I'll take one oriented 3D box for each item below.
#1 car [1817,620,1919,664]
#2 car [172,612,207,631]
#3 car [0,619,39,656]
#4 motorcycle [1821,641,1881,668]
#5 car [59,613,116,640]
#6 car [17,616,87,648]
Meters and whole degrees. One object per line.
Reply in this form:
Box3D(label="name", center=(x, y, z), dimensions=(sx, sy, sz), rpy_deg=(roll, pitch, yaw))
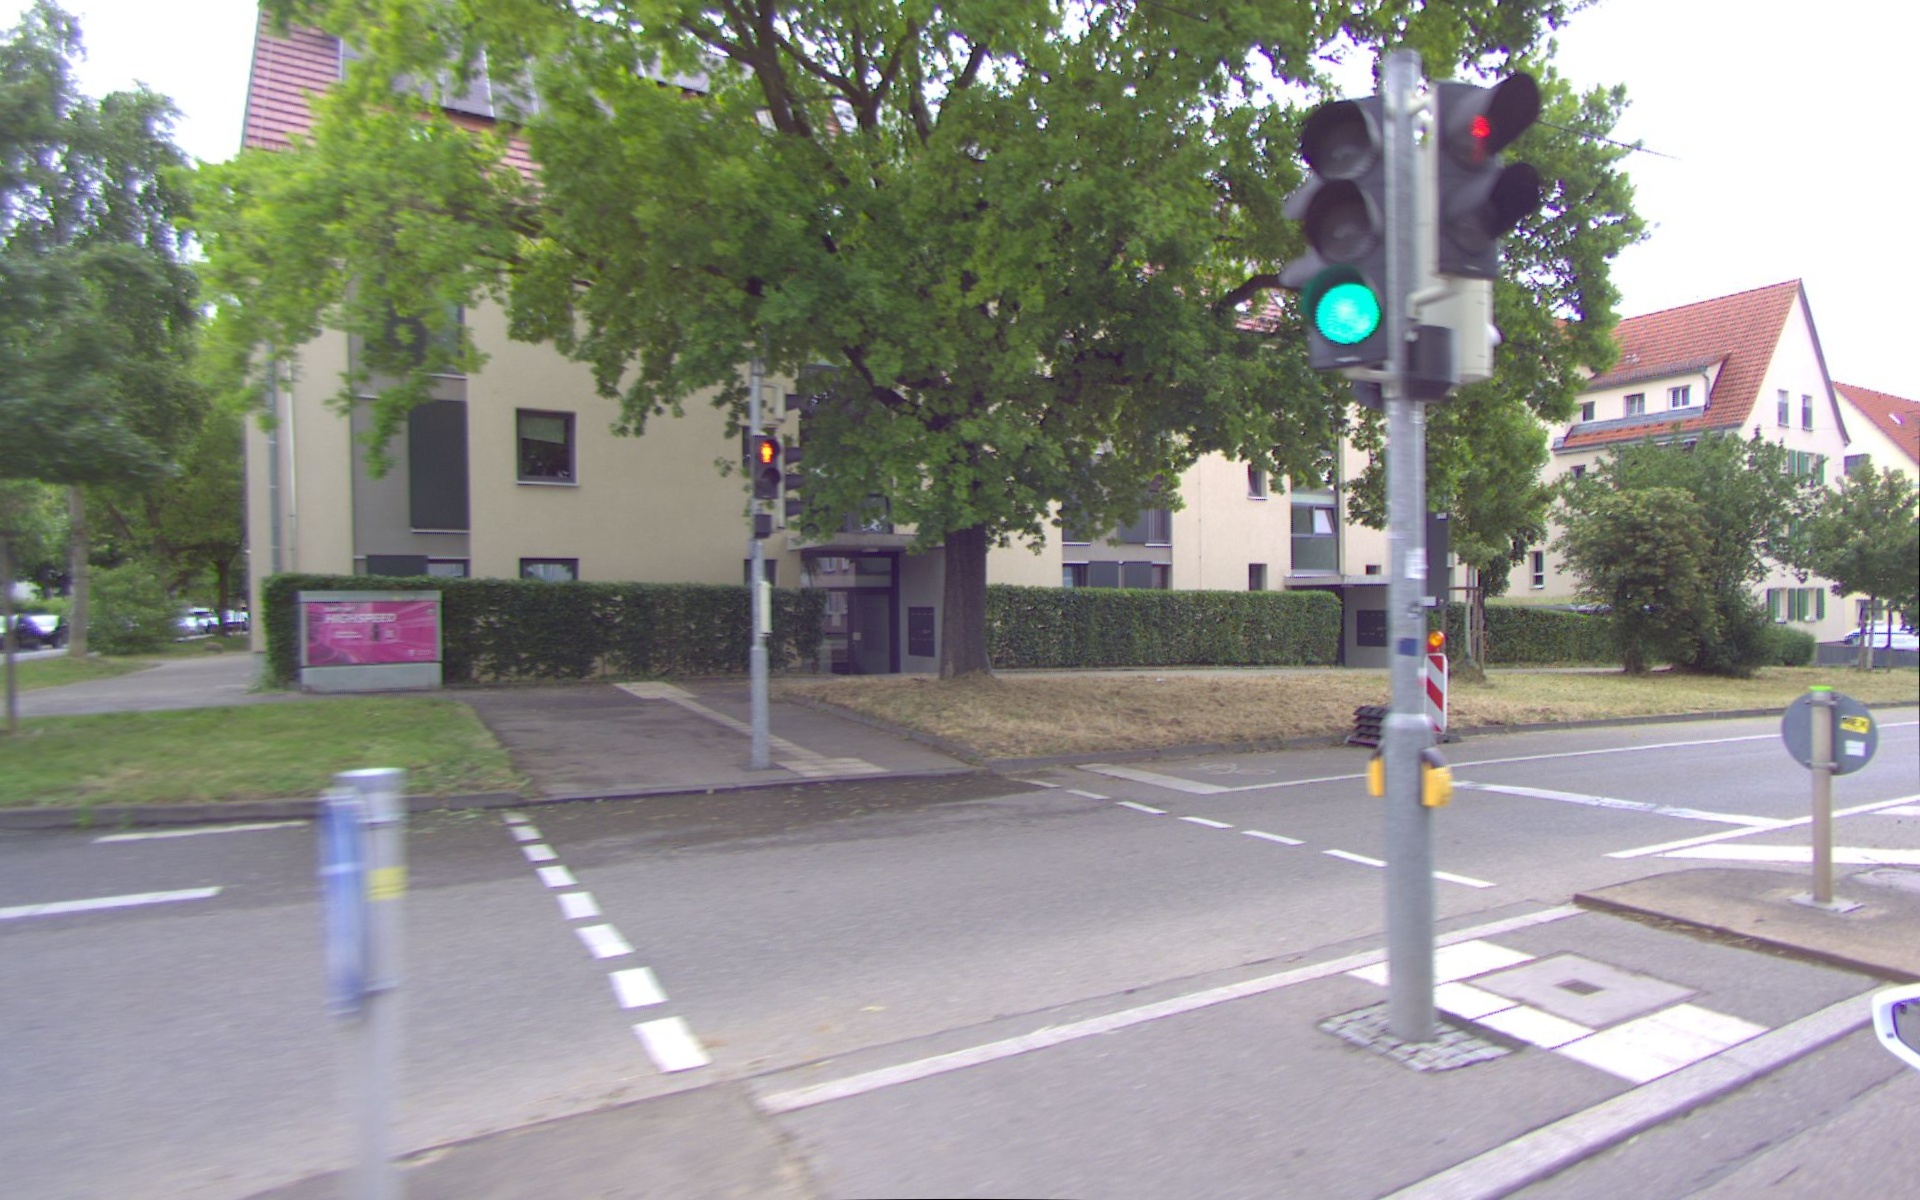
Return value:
Box3D(label="car", center=(50.966, 2.296, 55.855), dimensions=(1.971, 2.283, 4.697), rpy_deg=(2, -1, -29))
Box3D(label="car", center=(-58.223, 1.587, 75.975), dimensions=(1.519, 1.330, 3.513), rpy_deg=(1, 0, -28))
Box3D(label="car", center=(-37.887, 1.460, 39.569), dimensions=(1.519, 1.330, 3.513), rpy_deg=(1, 0, -28))
Box3D(label="motorcycle", center=(47.841, 2.919, 53.984), dimensions=(0.996, 1.296, 2.607), rpy_deg=(1, 0, 3))
Box3D(label="car", center=(-47.074, 1.435, 54.268), dimensions=(1.519, 1.330, 3.513), rpy_deg=(1, 0, -28))
Box3D(label="car", center=(-41.041, 1.438, 45.464), dimensions=(1.519, 1.330, 3.513), rpy_deg=(1, 0, -28))
